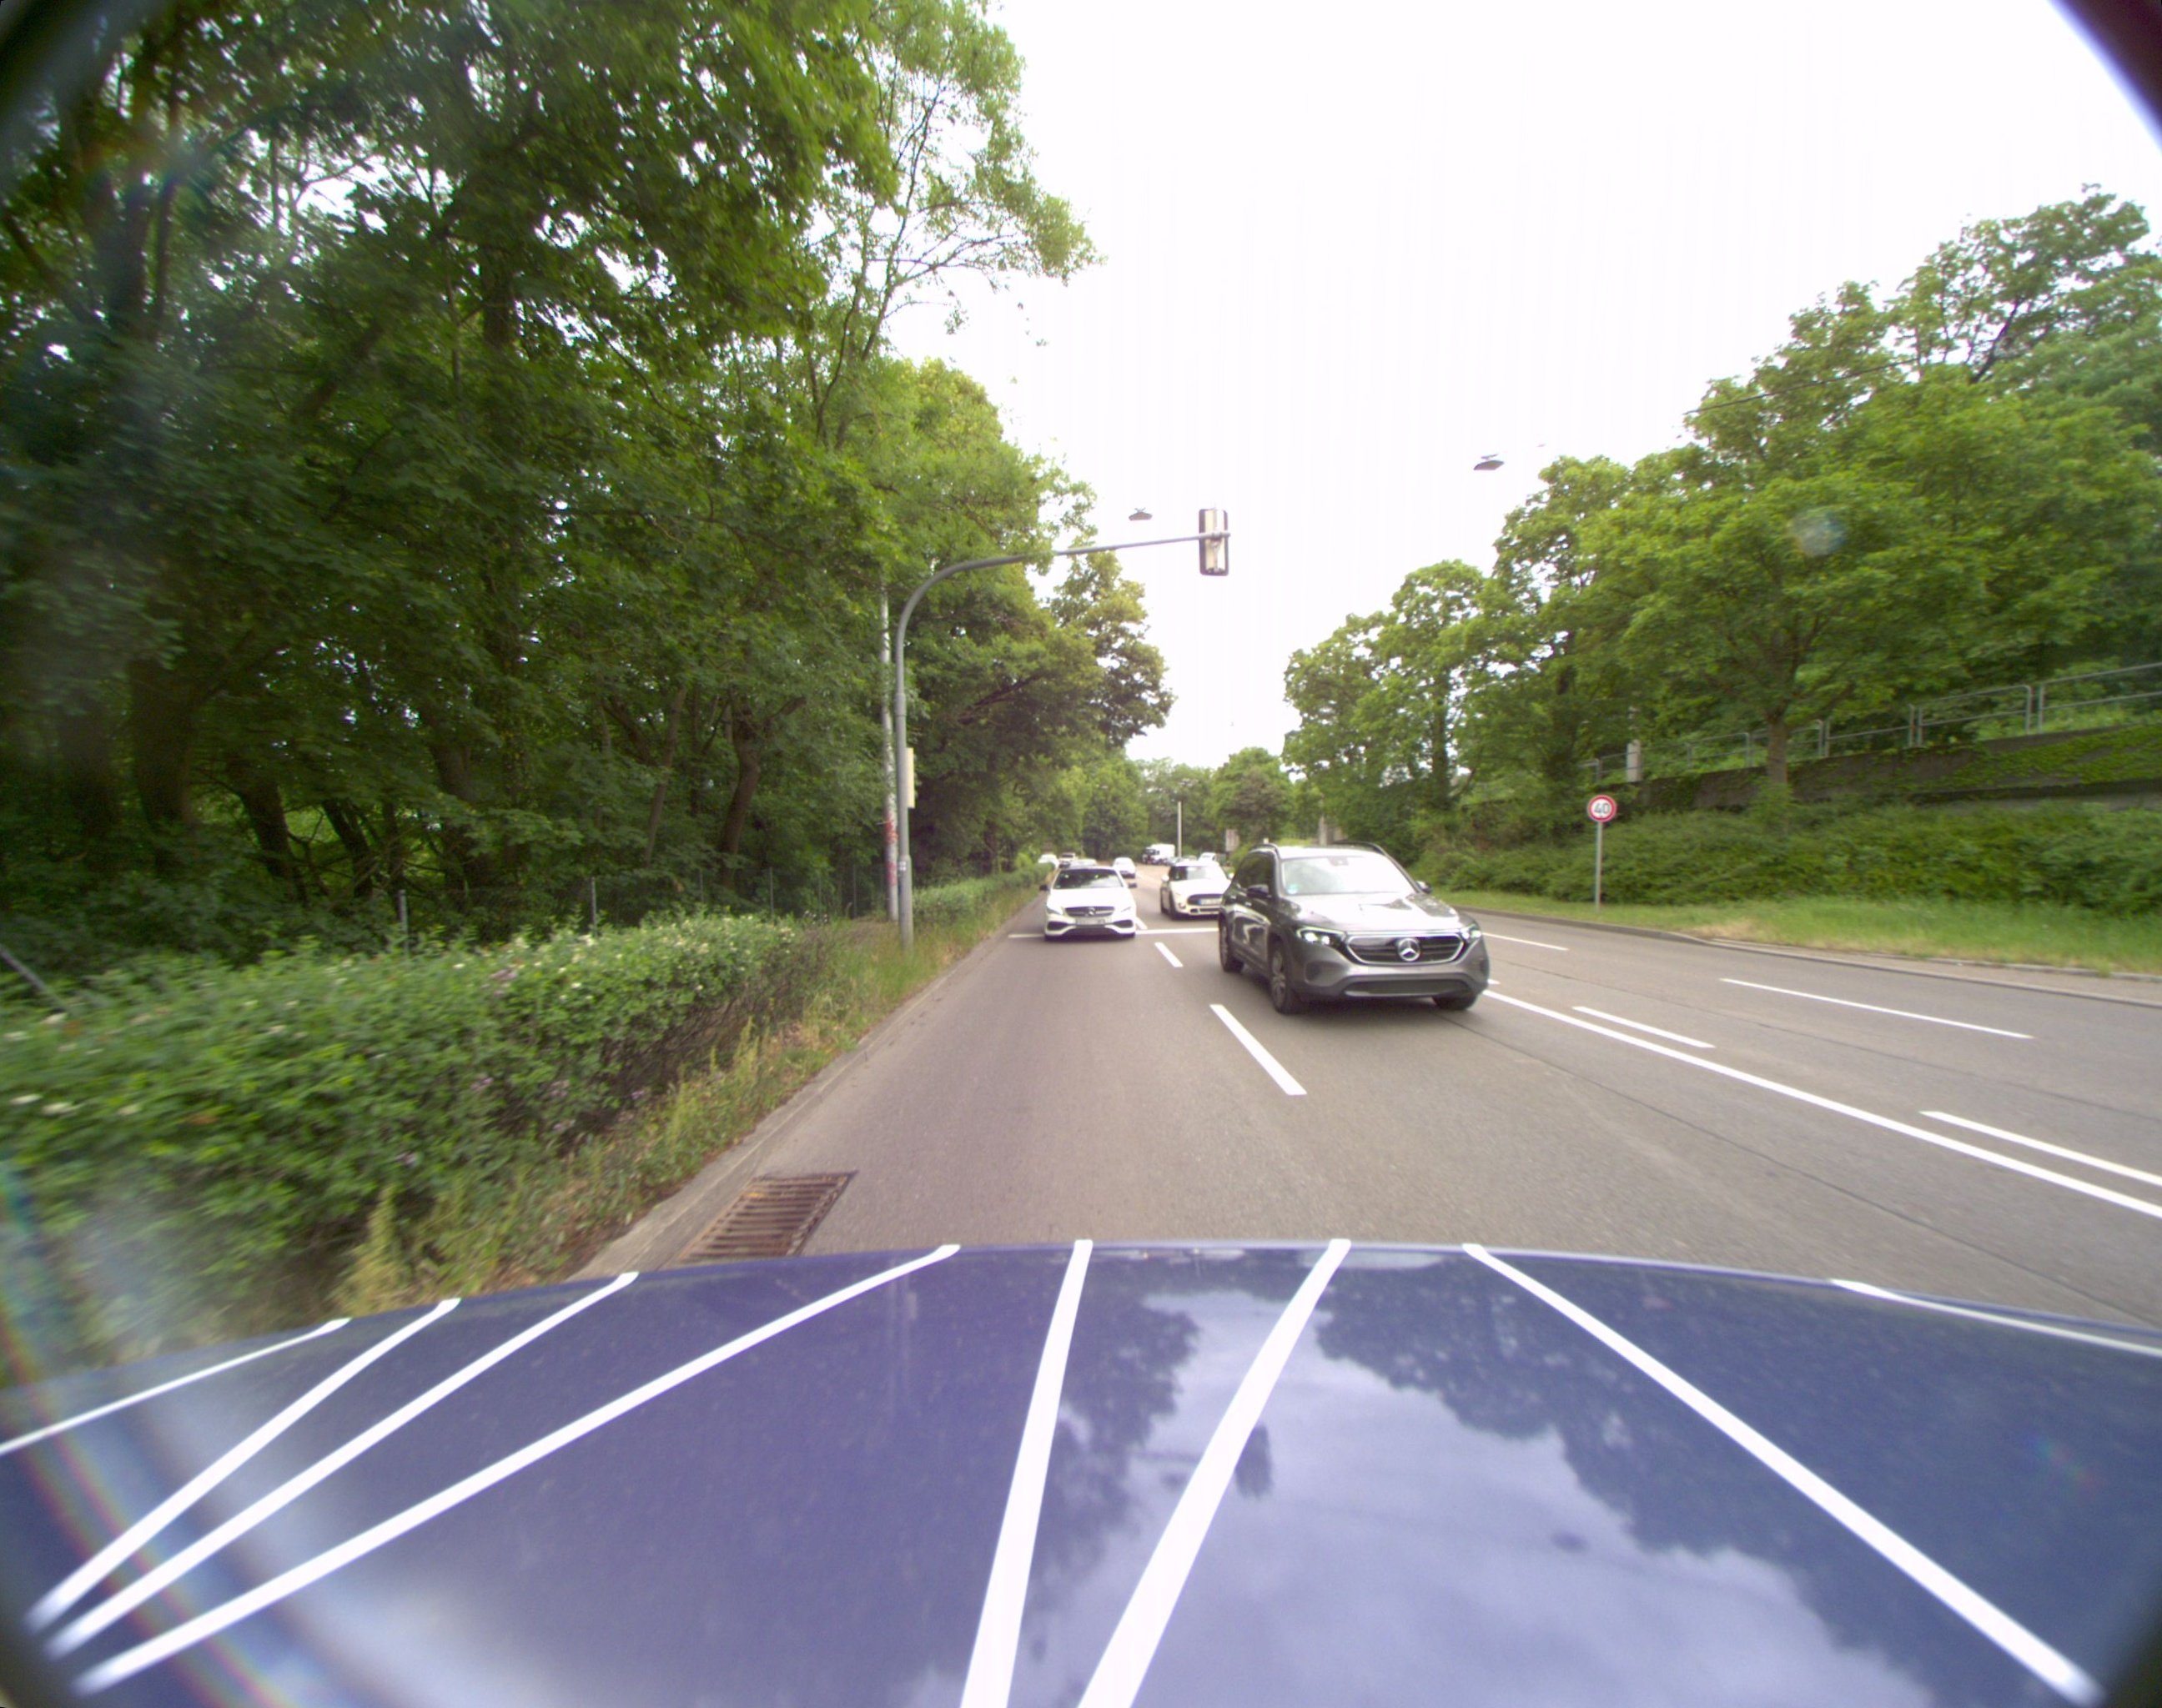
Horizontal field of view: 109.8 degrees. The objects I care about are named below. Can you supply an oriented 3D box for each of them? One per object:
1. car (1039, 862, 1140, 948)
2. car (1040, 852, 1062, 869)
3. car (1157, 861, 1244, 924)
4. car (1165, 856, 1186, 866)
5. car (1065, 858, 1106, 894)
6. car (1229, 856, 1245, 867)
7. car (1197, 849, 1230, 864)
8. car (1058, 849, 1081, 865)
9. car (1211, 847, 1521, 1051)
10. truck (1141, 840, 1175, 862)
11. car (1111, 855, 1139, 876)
[{"bbox_3d":[0.184,0.968,15.983,1.801,1.470,4.010,-2,0,1],"label":"car"},{"bbox_3d":[-2.632,0.575,67.767,1.765,1.433,3.892,2,0,1],"label":"car"},{"bbox_3d":[2.981,0.913,19.681,1.688,1.415,3.733,-1,0,1],"label":"car"},{"bbox_3d":[13.910,1.010,111.789,1.761,1.433,3.900,2,0,29],"label":"car"},{"bbox_3d":[0.240,0.998,35.741,1.755,1.417,4.010,3,1,1],"label":"car"},{"bbox_3d":[26.788,1.245,130.462,1.775,1.789,4.007,0,0,23],"label":"car"},{"bbox_3d":[20.213,0.412,115.728,2.280,2.187,6.471,-1,0,36],"label":"car"},{"bbox_3d":[-1.206,0.322,82.533,1.754,1.575,4.014,2,0,10],"label":"car"},{"bbox_3d":[2.710,0.780,8.416,1.854,1.641,4.358,-1,0,1],"label":"car"},{"bbox_3d":[11.569,-0.399,114.303,2.195,3.137,6.665,2,0,33],"label":"truck"},{"bbox_3d":[3.154,0.809,55.074,1.664,1.382,4.182,-1,0,-1],"label":"car"}]
